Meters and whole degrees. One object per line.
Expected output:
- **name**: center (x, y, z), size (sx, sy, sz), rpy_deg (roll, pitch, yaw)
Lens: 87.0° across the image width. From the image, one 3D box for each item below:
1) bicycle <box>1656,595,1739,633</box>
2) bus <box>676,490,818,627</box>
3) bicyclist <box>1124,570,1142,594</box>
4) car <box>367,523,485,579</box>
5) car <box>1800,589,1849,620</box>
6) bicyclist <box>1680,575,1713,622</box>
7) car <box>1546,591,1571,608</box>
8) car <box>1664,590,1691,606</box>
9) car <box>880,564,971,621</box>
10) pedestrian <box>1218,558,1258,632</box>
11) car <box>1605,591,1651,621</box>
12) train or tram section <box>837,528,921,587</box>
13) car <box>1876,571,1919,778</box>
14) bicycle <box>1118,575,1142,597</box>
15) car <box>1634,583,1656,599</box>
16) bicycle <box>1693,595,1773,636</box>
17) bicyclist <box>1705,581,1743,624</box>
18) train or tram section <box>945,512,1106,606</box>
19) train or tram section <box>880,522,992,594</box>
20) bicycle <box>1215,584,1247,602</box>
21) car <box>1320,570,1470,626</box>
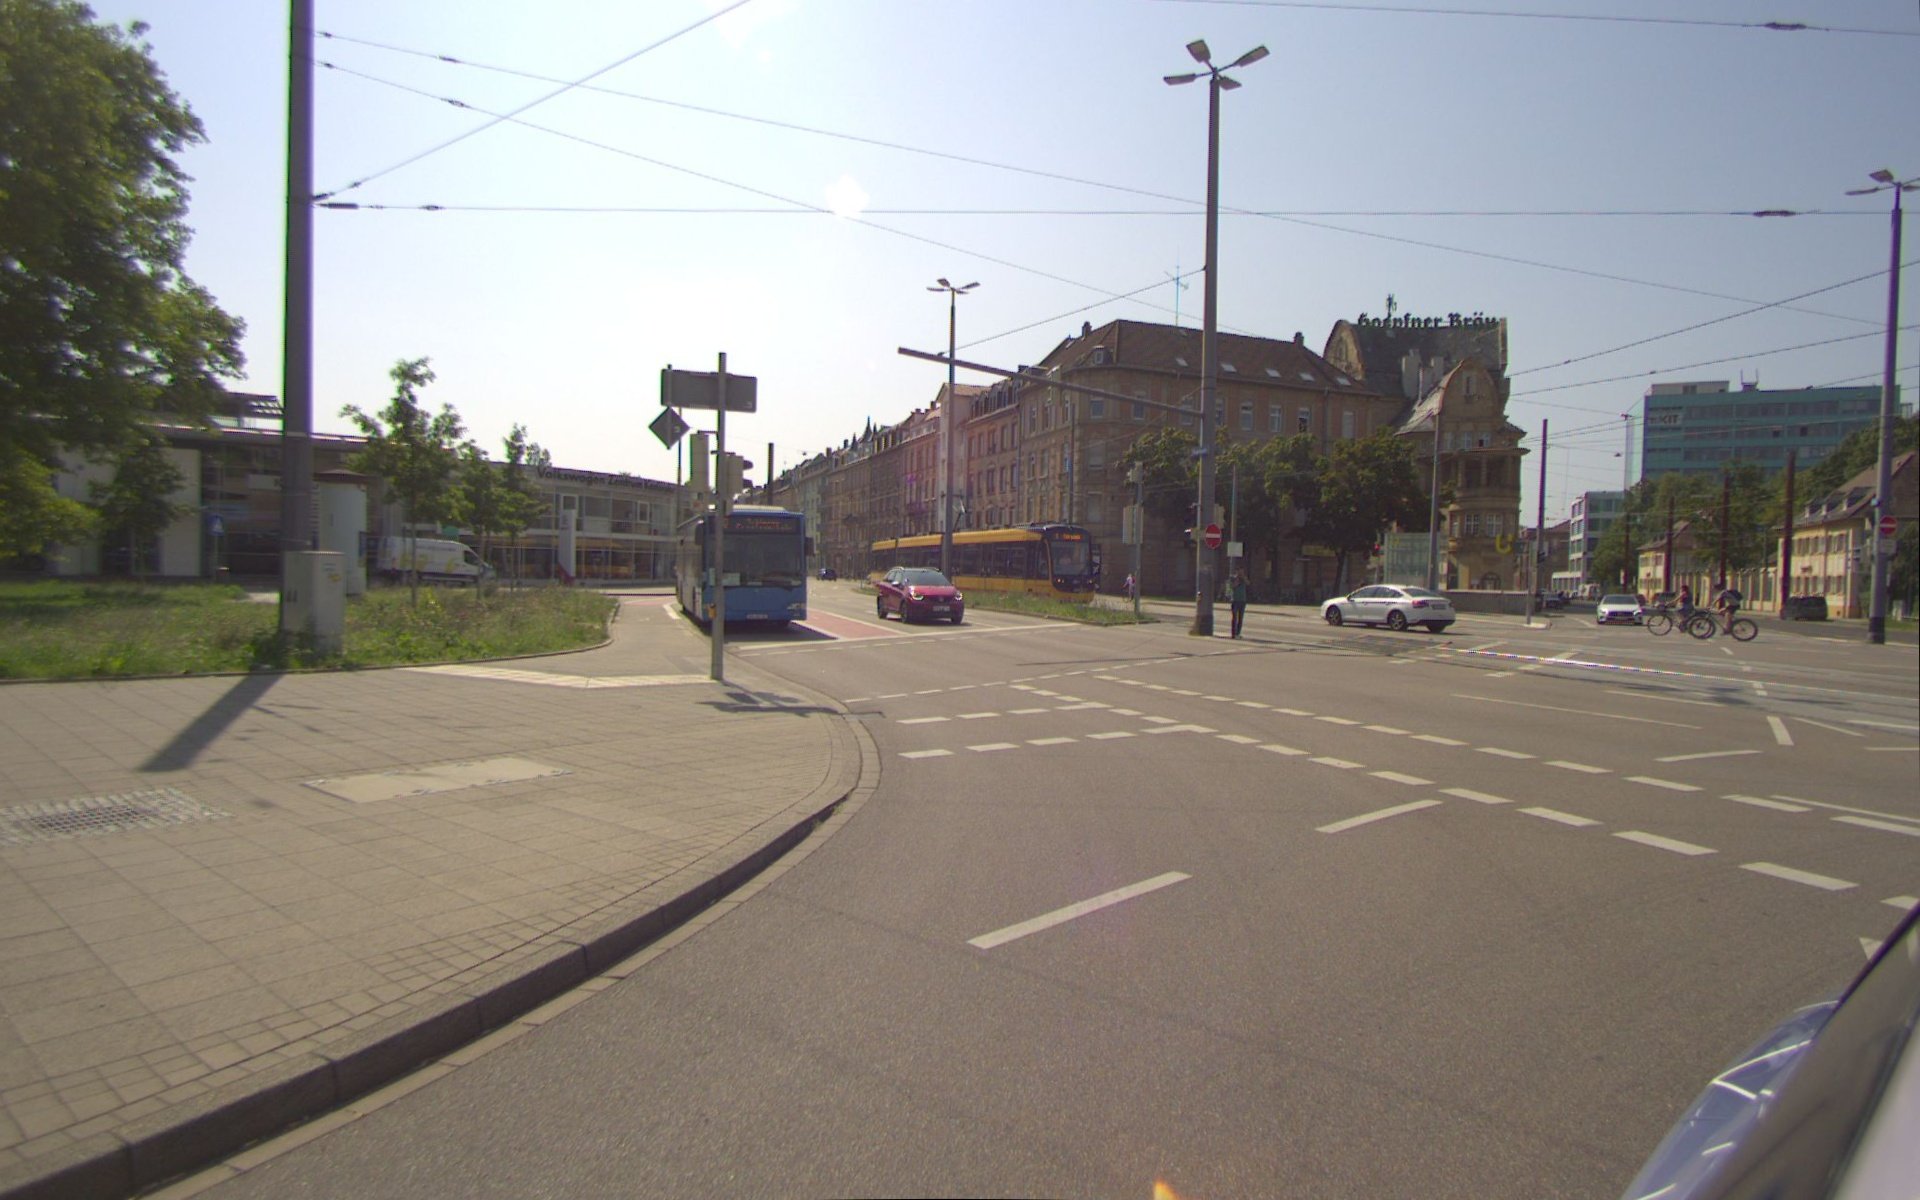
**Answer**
- **bicycle**: center (24.003, 0.443, 32.974), size (0.433, 1.125, 2.129), rpy_deg (1, 1, -34)
- **bus**: center (-6.560, -1.167, 29.333), size (2.676, 3.102, 12.111), rpy_deg (1, 2, -18)
- **bicyclist**: center (9.447, -0.967, 55.290), size (0.645, 1.269, 0.645), rpy_deg (1, 1, -30)
- **car**: center (-28.222, -2.530, 53.636), size (1.839, 2.617, 5.145), rpy_deg (2, 0, 38)
- **car**: center (61.495, 0.320, 72.026), size (1.985, 2.039, 3.954), rpy_deg (3, 0, 32)
- **bicyclist**: center (24.009, -0.038, 33.002), size (0.646, 1.499, 0.644), rpy_deg (1, 1, -35)
- **car**: center (52.097, -0.051, 88.113), size (1.360, 1.415, 3.229), rpy_deg (3, 0, 23)
- **car**: center (81.709, -0.190, 115.277), size (1.983, 1.705, 3.959), rpy_deg (3, 0, 29)
- **car**: center (-1.068, -0.278, 29.021), size (1.596, 1.490, 3.781), rpy_deg (-1, 3, -18)
- **pedestrian**: center (6.669, -0.123, 24.270), size (0.794, 1.708, 0.715), rpy_deg (4, 2, 18)
- **car**: center (31.698, 0.267, 47.979), size (1.579, 1.304, 3.678), rpy_deg (3, 2, 36)
- **train or tram section**: center (-5.707, -2.885, 68.633), size (2.541, 3.604, 12.247), rpy_deg (1, 2, -20)
- **car**: center (9.698, 0.649, 7.509), size (4.276, 1.614, 1.694), rpy_deg (1, 1, -2)
- **bicycle**: center (9.329, -0.777, 55.638), size (0.432, 1.125, 1.647), rpy_deg (1, 2, -24)
- **car**: center (89.021, -1.131, 131.552), size (1.983, 1.927, 3.959), rpy_deg (3, 0, 29)
- **bicycle**: center (23.138, 0.449, 30.330), size (1.846, 1.125, 0.703), rpy_deg (3, 2, 38)
- **bicyclist**: center (22.970, 0.057, 30.423), size (0.860, 1.249, 1.087), rpy_deg (3, 2, 38)
- **train or tram section**: center (2.519, -1.854, 45.578), size (2.541, 3.604, 12.247), rpy_deg (1, 2, -20)
- **train or tram section**: center (-1.655, -2.381, 57.275), size (2.541, 3.604, 12.247), rpy_deg (1, 2, -20)
- **bicycle**: center (14.950, -0.377, 55.821), size (1.751, 0.969, 0.463), rpy_deg (1, 1, -26)
- **car**: center (14.007, -0.116, 32.920), size (1.734, 1.638, 4.614), rpy_deg (1, 2, -21)
